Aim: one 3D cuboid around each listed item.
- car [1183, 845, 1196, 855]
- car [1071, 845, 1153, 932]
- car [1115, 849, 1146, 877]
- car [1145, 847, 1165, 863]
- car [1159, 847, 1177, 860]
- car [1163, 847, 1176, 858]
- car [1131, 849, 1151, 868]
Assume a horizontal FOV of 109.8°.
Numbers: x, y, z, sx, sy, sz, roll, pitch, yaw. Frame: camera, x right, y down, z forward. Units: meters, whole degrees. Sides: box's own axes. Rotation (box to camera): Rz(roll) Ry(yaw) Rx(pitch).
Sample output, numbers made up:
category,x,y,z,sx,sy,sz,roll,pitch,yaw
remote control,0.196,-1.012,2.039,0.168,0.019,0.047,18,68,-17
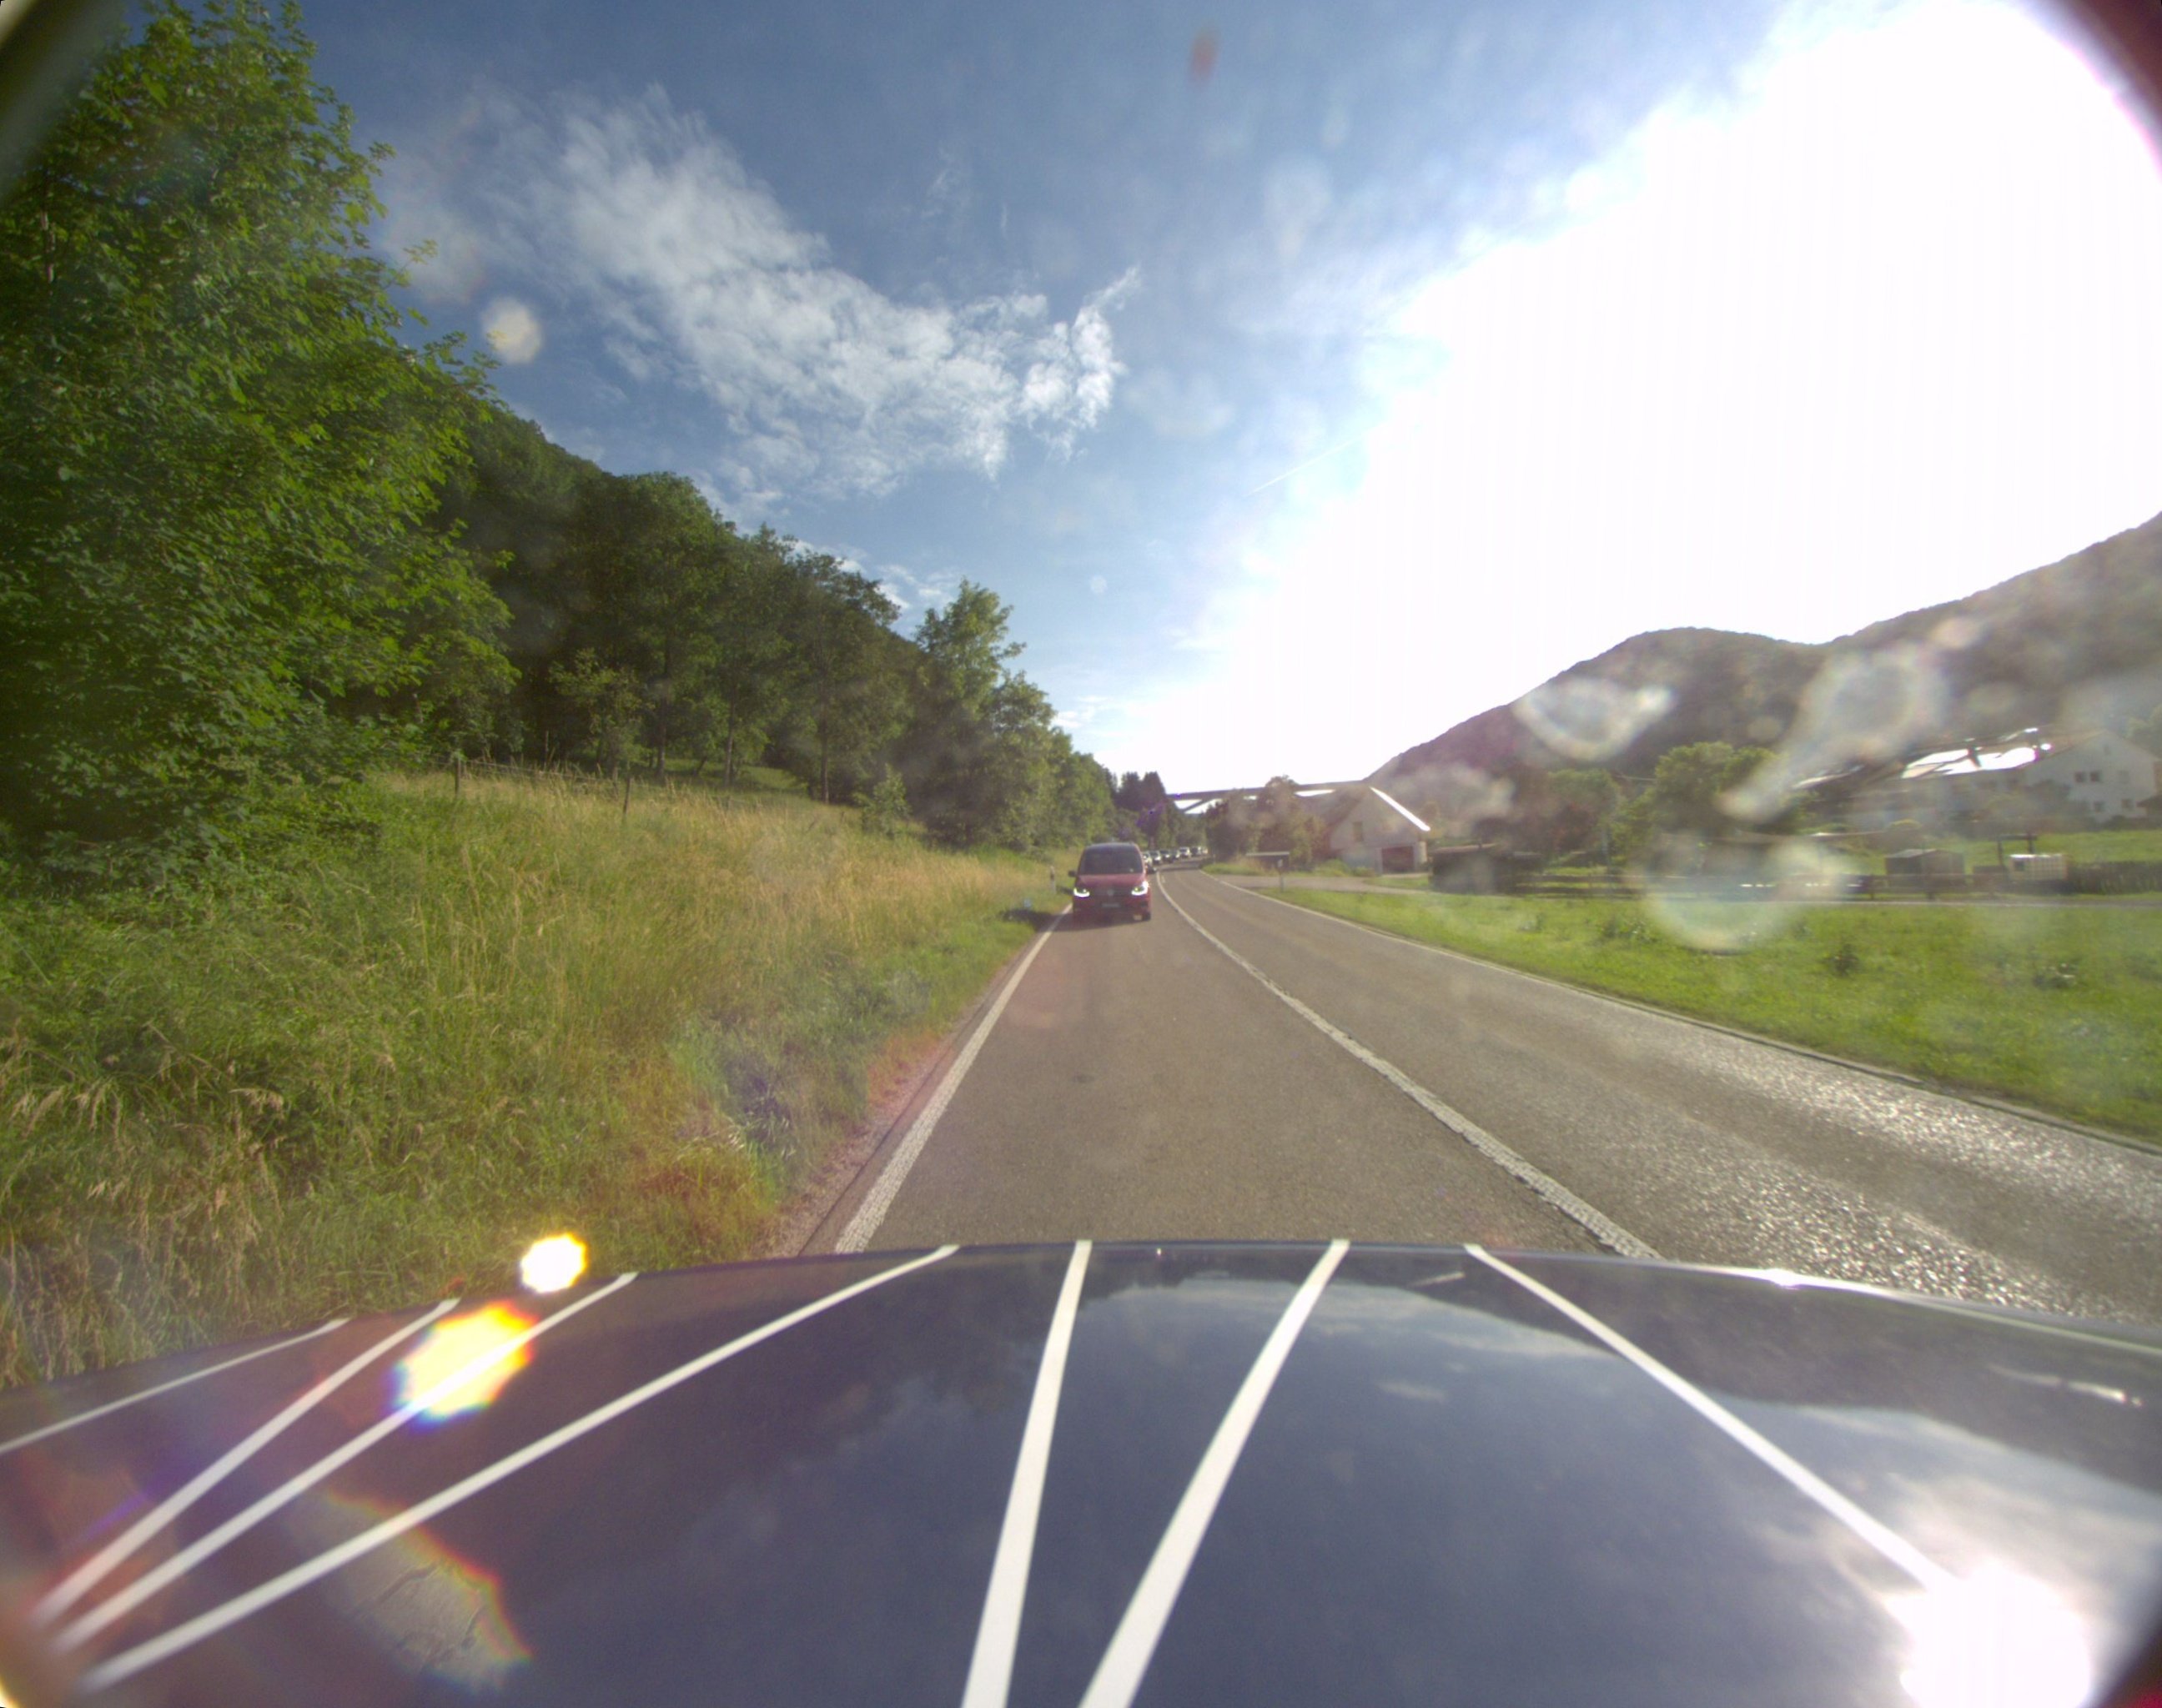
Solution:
category,x,y,z,sx,sy,sz,roll,pitch,yaw
car,16.717,-0.693,117.146,1.629,1.470,3.680,-2,1,4
car,0.678,0.699,17.930,1.649,1.762,3.999,-2,1,1
car,2.918,0.500,44.376,1.629,1.470,3.680,-2,1,4
car,7.153,0.066,73.924,1.630,1.470,3.679,-2,1,1
car,9.875,-0.070,86.668,1.630,1.470,3.679,-2,1,1
car,11.861,-0.224,102.046,1.629,1.470,3.681,-2,1,8
car,5.169,0.356,65.168,1.629,1.470,3.680,-2,1,4
